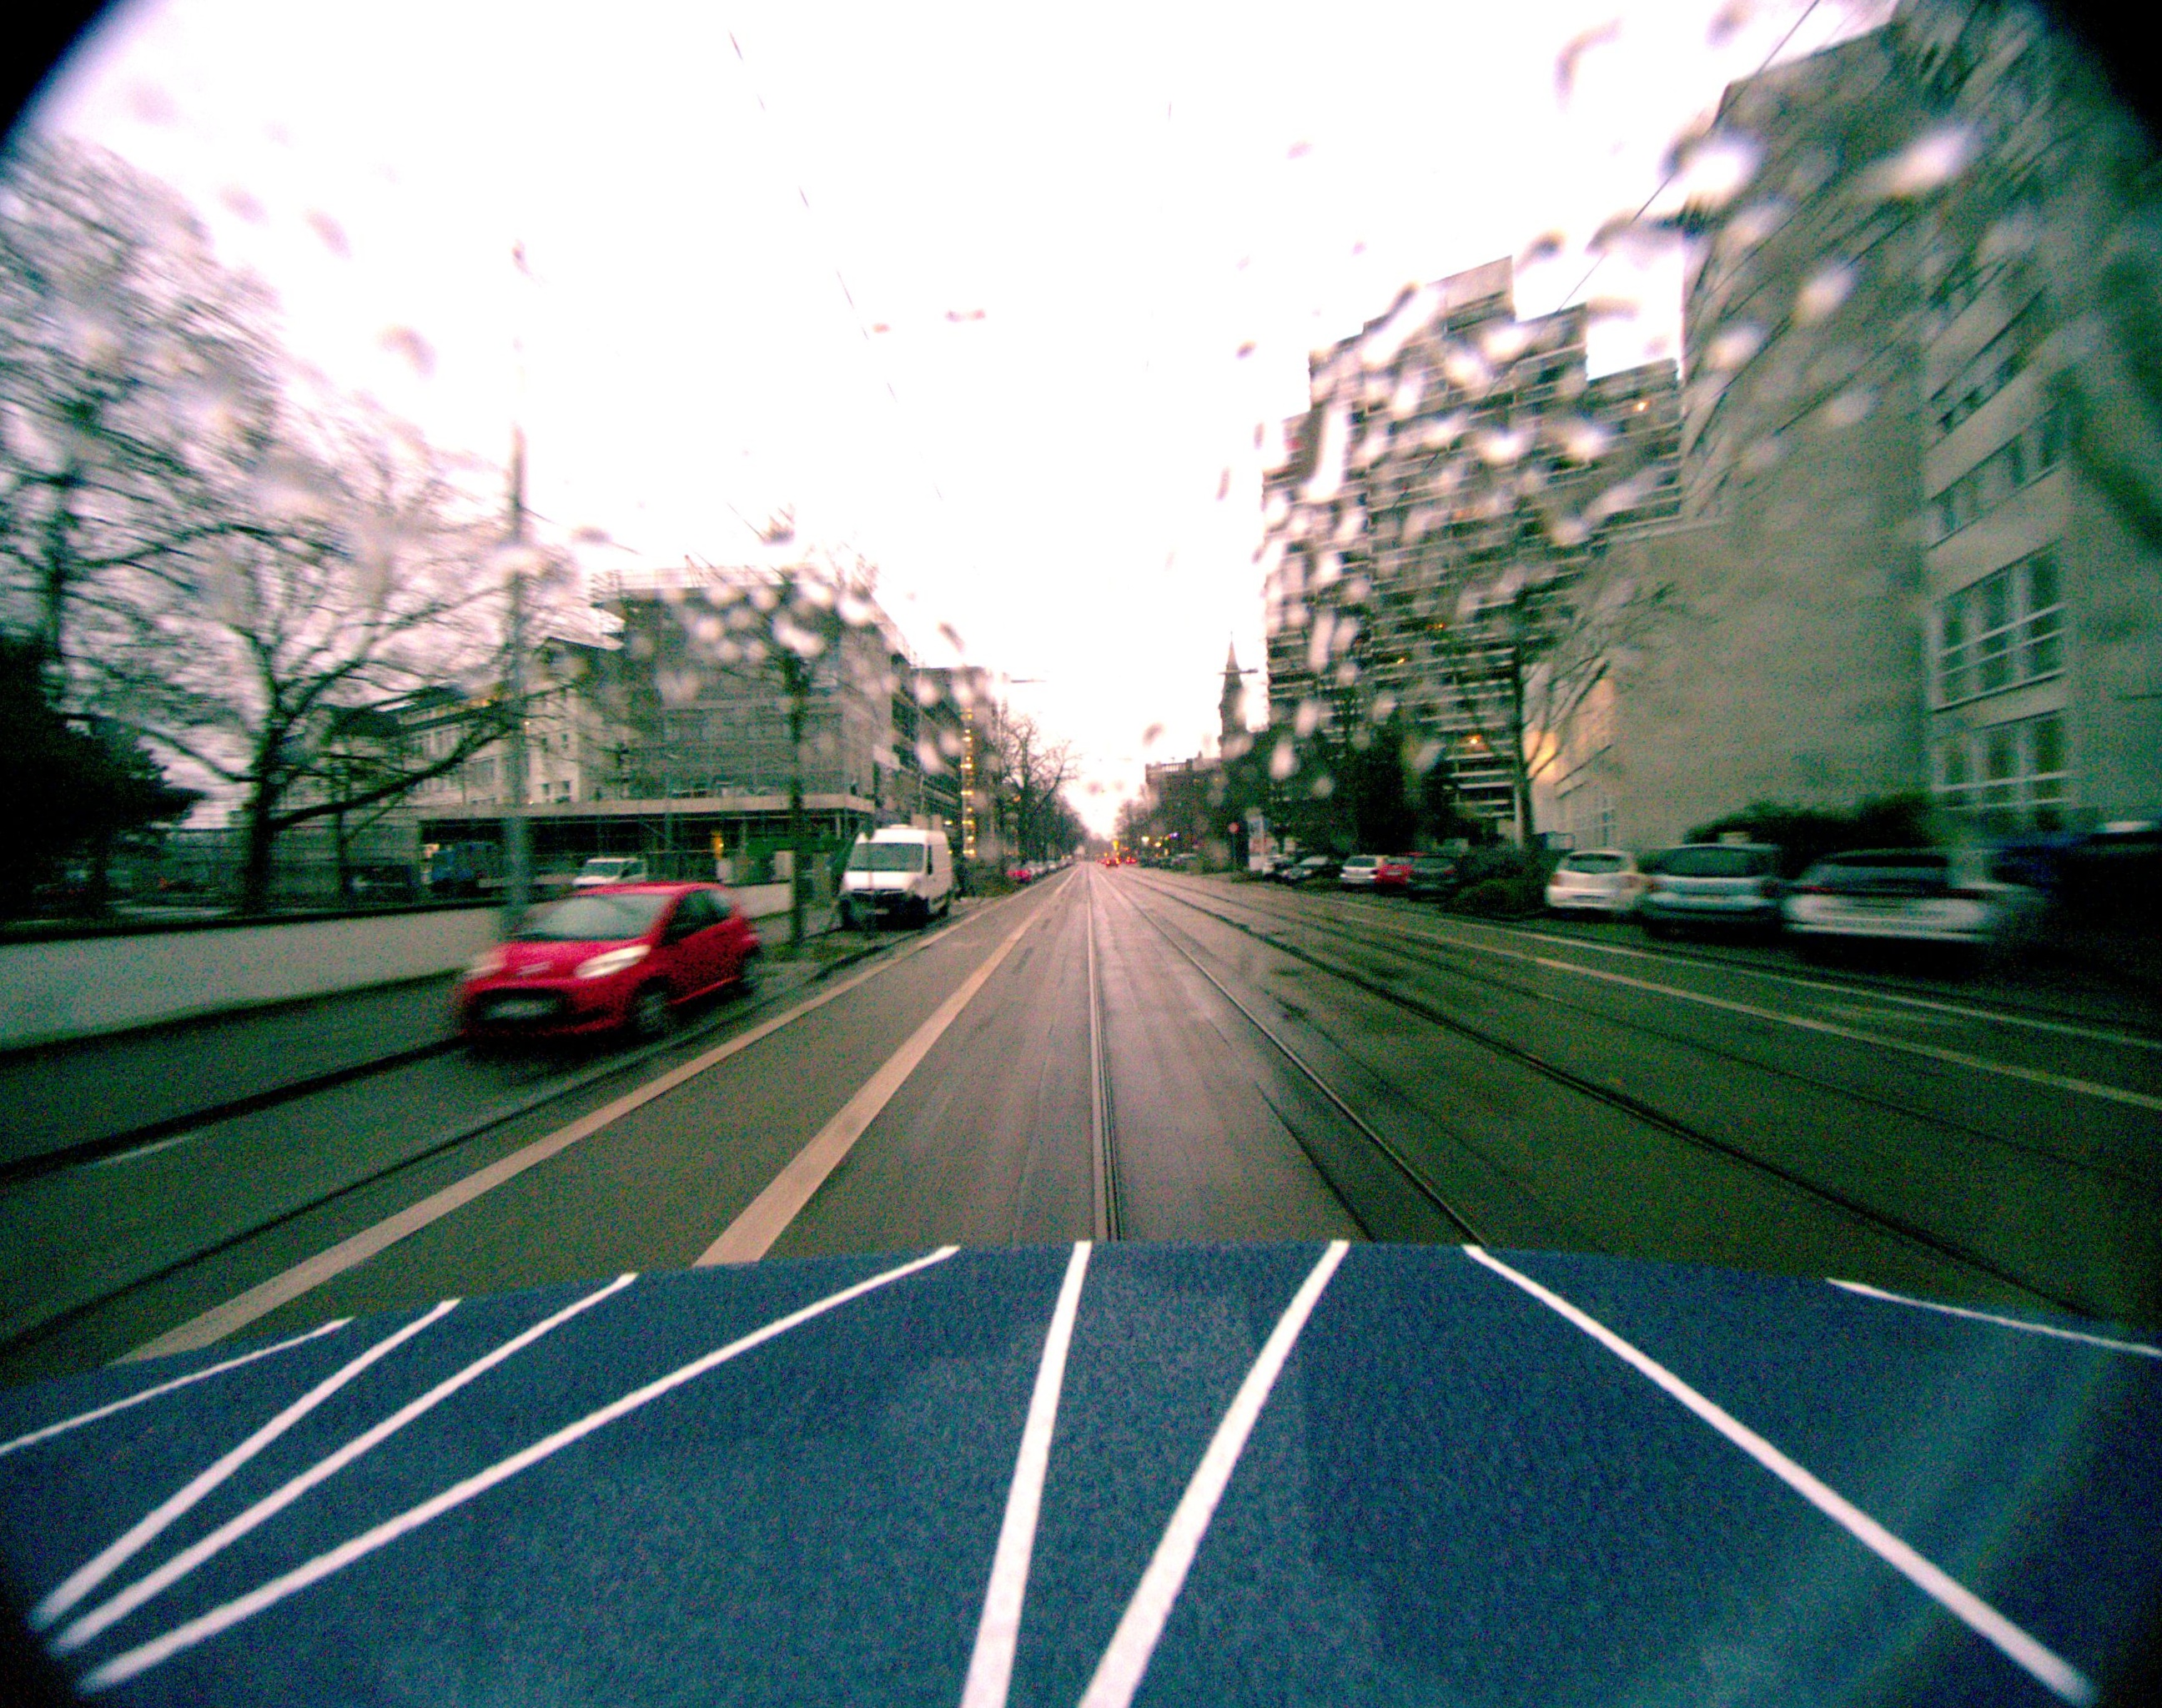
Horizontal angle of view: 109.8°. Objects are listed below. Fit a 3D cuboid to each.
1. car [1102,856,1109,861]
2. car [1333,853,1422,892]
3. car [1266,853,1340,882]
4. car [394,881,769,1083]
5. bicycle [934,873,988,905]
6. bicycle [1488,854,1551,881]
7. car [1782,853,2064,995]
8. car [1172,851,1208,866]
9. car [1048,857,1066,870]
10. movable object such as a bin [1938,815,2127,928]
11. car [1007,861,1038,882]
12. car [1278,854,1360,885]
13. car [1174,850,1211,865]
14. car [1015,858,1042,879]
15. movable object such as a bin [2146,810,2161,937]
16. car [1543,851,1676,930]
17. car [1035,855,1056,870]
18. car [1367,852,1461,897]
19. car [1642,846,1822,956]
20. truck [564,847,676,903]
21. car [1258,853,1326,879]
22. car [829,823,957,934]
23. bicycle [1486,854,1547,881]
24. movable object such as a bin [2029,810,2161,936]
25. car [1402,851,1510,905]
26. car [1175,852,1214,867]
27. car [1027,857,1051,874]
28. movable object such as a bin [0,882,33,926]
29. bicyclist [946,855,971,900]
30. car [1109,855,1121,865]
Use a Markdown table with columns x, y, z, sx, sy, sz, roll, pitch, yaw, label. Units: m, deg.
| x | y | z | sx | sy | sz | roll | pitch | yaw | label |
| --- | --- | --- | --- | --- | --- | --- | --- | --- | --- |
| 6.492 | 1.198 | 198.210 | 1.765 | 1.402 | 4.001 | -1 | -1 | 1 | car |
| 11.657 | 0.688 | 29.759 | 1.788 | 1.437 | 4.008 | -1 | -1 | 45 | car |
| 11.670 | 0.676 | 39.821 | 4.008 | 1.454 | 1.851 | 0 | -1 | -41 | car |
| -4.846 | 1.117 | 8.051 | 1.647 | 1.514 | 3.572 | -2 | -1 | -2 | car |
| -4.496 | 1.311 | 28.486 | 1.892 | 1.126 | 0.731 | -1 | 0 | 1 | bicycle |
| 18.120 | 0.564 | 31.461 | 2.200 | 1.114 | 0.643 | -1 | 0 | 23 | bicycle |
| 10.758 | 0.722 | 9.654 | 4.007 | 1.435 | 1.732 | -1 | 1 | -32 | car |
| 12.426 | 0.501 | 87.127 | 3.995 | 1.630 | 2.001 | -1 | 0 | 6 | car |
| -2.980 | 1.185 | 93.306 | 1.866 | 1.584 | 4.001 | -1 | -1 | 3 | car |
| 16.525 | 0.305 | 13.263 | 1.573 | 1.848 | 1.318 | -1 | -1 | 2 | movable object such as a bin |
| -4.066 | 1.190 | 53.514 | 1.753 | 1.379 | 3.737 | -1 | -1 | 2 | car |
| 11.269 | 0.721 | 35.885 | 4.008 | 1.370 | 1.851 | 0 | -1 | -41 | car |
| 12.348 | 0.392 | 84.254 | 3.995 | 1.477 | 1.673 | -1 | 0 | 6 | car |
| -4.283 | 1.179 | 62.477 | 1.753 | 1.574 | 3.737 | -1 | -1 | 2 | car |
| 16.448 | 0.254 | 10.487 | 1.573 | 1.848 | 1.318 | -1 | -1 | 2 | movable object such as a bin |
| 11.747 | 0.718 | 16.795 | 3.885 | 1.542 | 1.688 | 0 | -1 | -44 | car |
| -3.849 | 0.960 | 82.505 | 1.866 | 1.584 | 4.001 | -1 | -1 | 3 | car |
| 11.840 | 0.701 | 26.916 | 3.458 | 1.484 | 1.725 | 0 | -1 | -41 | car |
| 10.996 | 0.674 | 12.741 | 4.008 | 1.554 | 1.732 | 0 | -1 | -41 | car |
| -23.630 | 0.979 | 39.423 | 2.132 | 2.573 | 7.075 | -1 | 1 | -7 | truck |
| 11.993 | 0.675 | 43.086 | 4.008 | 1.391 | 1.851 | 0 | -1 | -41 | car |
| -4.707 | 0.591 | 19.968 | 2.130 | 2.472 | 5.438 | -1 | -1 | -2 | car |
| 18.483 | 0.563 | 32.290 | 2.200 | 1.114 | 0.643 | -1 | 0 | 23 | bicycle |
| 16.498 | 0.290 | 11.864 | 1.573 | 1.848 | 1.394 | -1 | -1 | 2 | movable object such as a bin |
| 11.514 | 0.685 | 23.203 | 3.862 | 1.484 | 1.691 | 0 | -1 | -43 | car |
| 12.010 | 0.562 | 80.368 | 3.995 | 1.477 | 1.673 | -1 | 0 | 6 | car |
| -4.025 | 1.097 | 73.175 | 1.866 | 1.584 | 4.001 | -1 | -1 | 3 | car |
| -32.829 | 1.493 | 22.779 | 1.061 | 1.308 | 1.325 | -1 | -2 | 11 | movable object such as a bin |
| -4.578 | 0.876 | 28.491 | 0.770 | 1.679 | 0.707 | -1 | 0 | 1 | bicyclist |
| 5.573 | 0.950 | 125.565 | 1.752 | 1.535 | 4.295 | -1 | -1 | 0 | car |
